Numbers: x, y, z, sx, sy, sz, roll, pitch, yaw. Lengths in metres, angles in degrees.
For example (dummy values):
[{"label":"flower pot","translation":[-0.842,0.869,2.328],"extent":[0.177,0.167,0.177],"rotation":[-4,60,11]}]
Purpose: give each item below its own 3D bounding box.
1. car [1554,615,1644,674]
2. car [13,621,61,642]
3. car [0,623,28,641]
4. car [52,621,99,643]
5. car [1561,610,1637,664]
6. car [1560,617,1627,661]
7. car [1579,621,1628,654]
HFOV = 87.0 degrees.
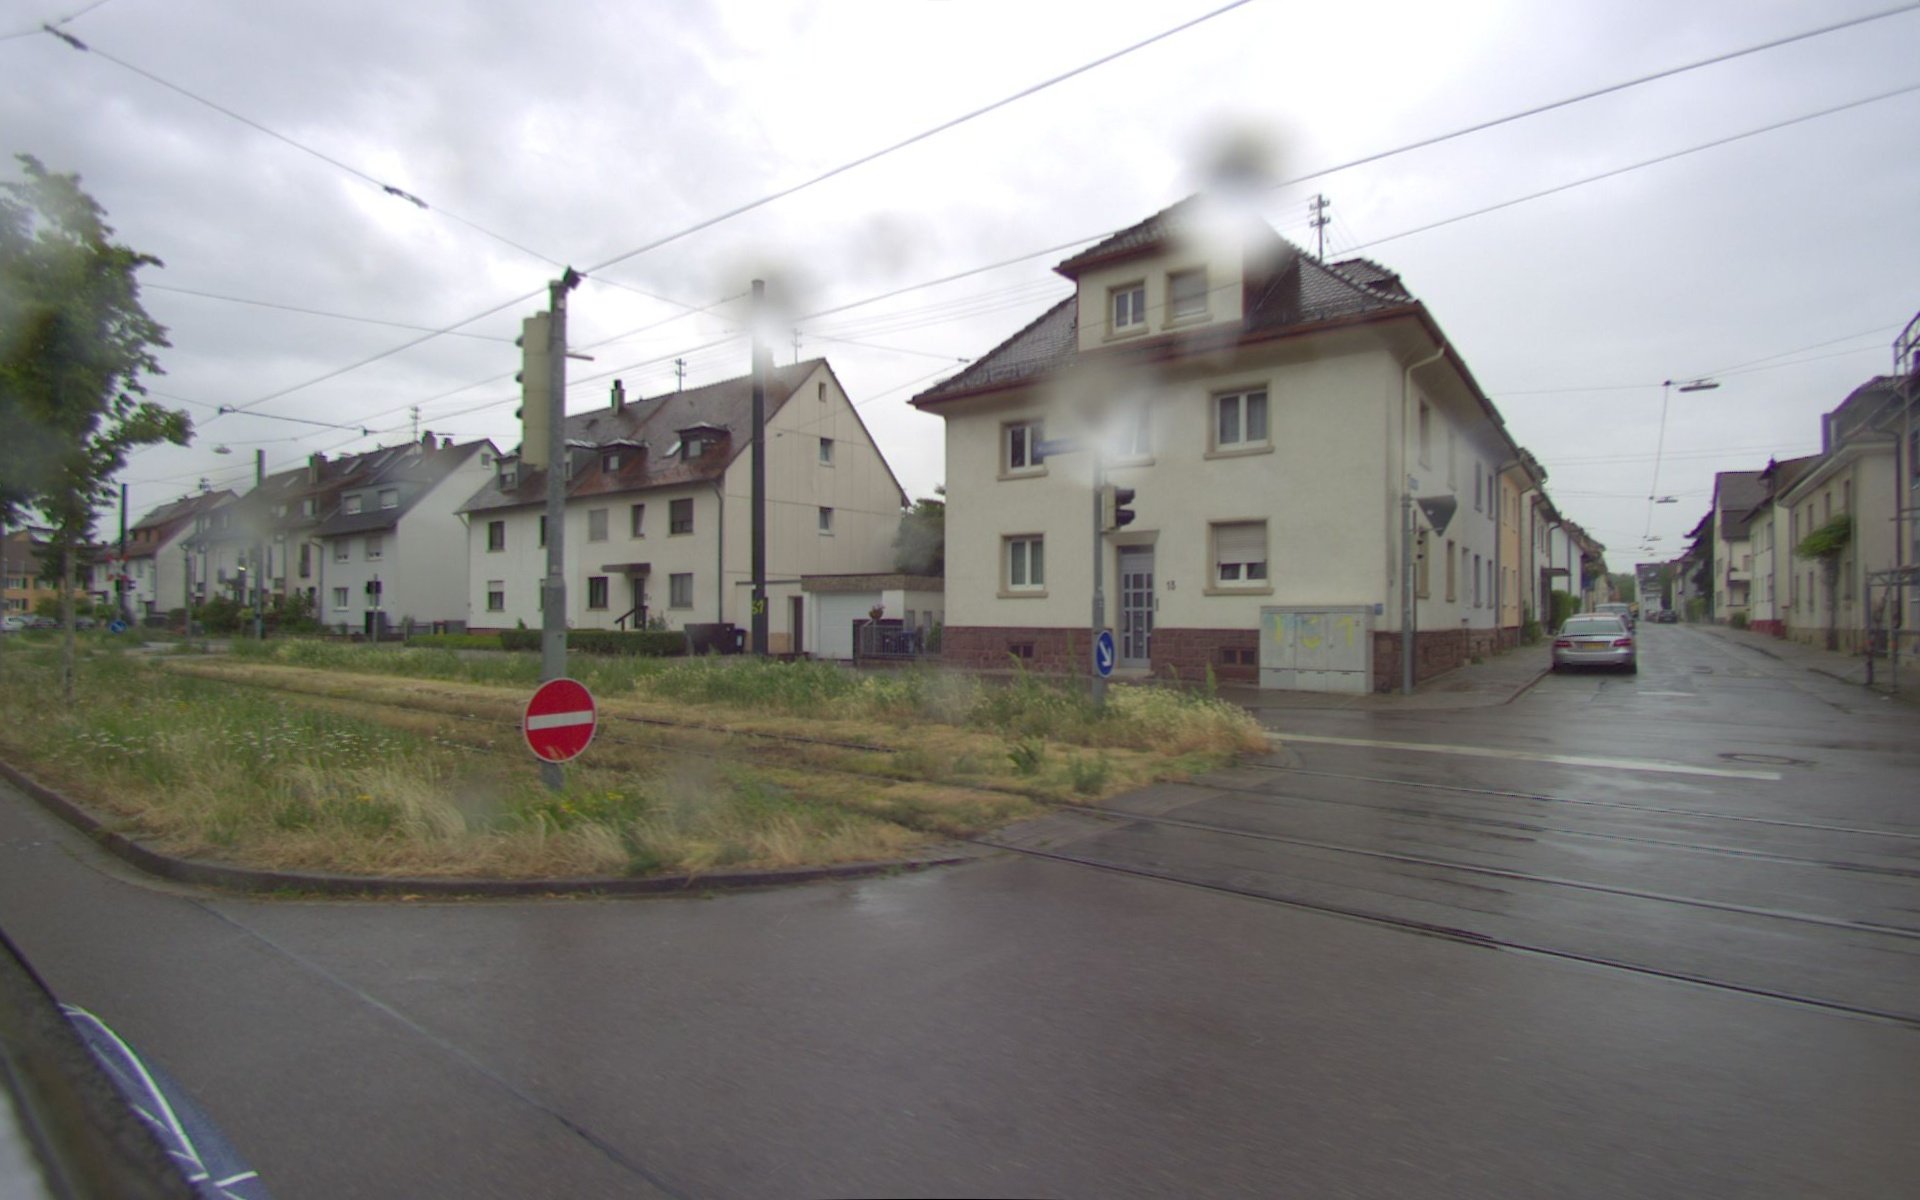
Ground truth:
[{"label":"car","translation":[16.751,1.119,26.533],"extent":[1.837,1.412,4.316],"rotation":[-1,-2,33]},{"label":"car","translation":[-70.787,2.421,77.588],"extent":[4.749,1.543,1.869],"rotation":[-1,-3,38]},{"label":"car","translation":[-79.512,2.629,84.553],"extent":[3.994,1.451,1.694],"rotation":[-1,-3,38]},{"label":"car","translation":[-60.908,2.209,69.663],"extent":[3.933,1.437,1.755],"rotation":[-1,-3,39]},{"label":"car","translation":[19.503,1.097,30.900],"extent":[1.837,1.532,4.316],"rotation":[-1,-2,33]},{"label":"car","translation":[21.830,1.302,34.844],"extent":[1.837,1.390,4.316],"rotation":[-1,-2,33]},{"label":"car","translation":[28.848,1.649,45.374],"extent":[1.787,1.378,4.316],"rotation":[-1,-2,33]}]
